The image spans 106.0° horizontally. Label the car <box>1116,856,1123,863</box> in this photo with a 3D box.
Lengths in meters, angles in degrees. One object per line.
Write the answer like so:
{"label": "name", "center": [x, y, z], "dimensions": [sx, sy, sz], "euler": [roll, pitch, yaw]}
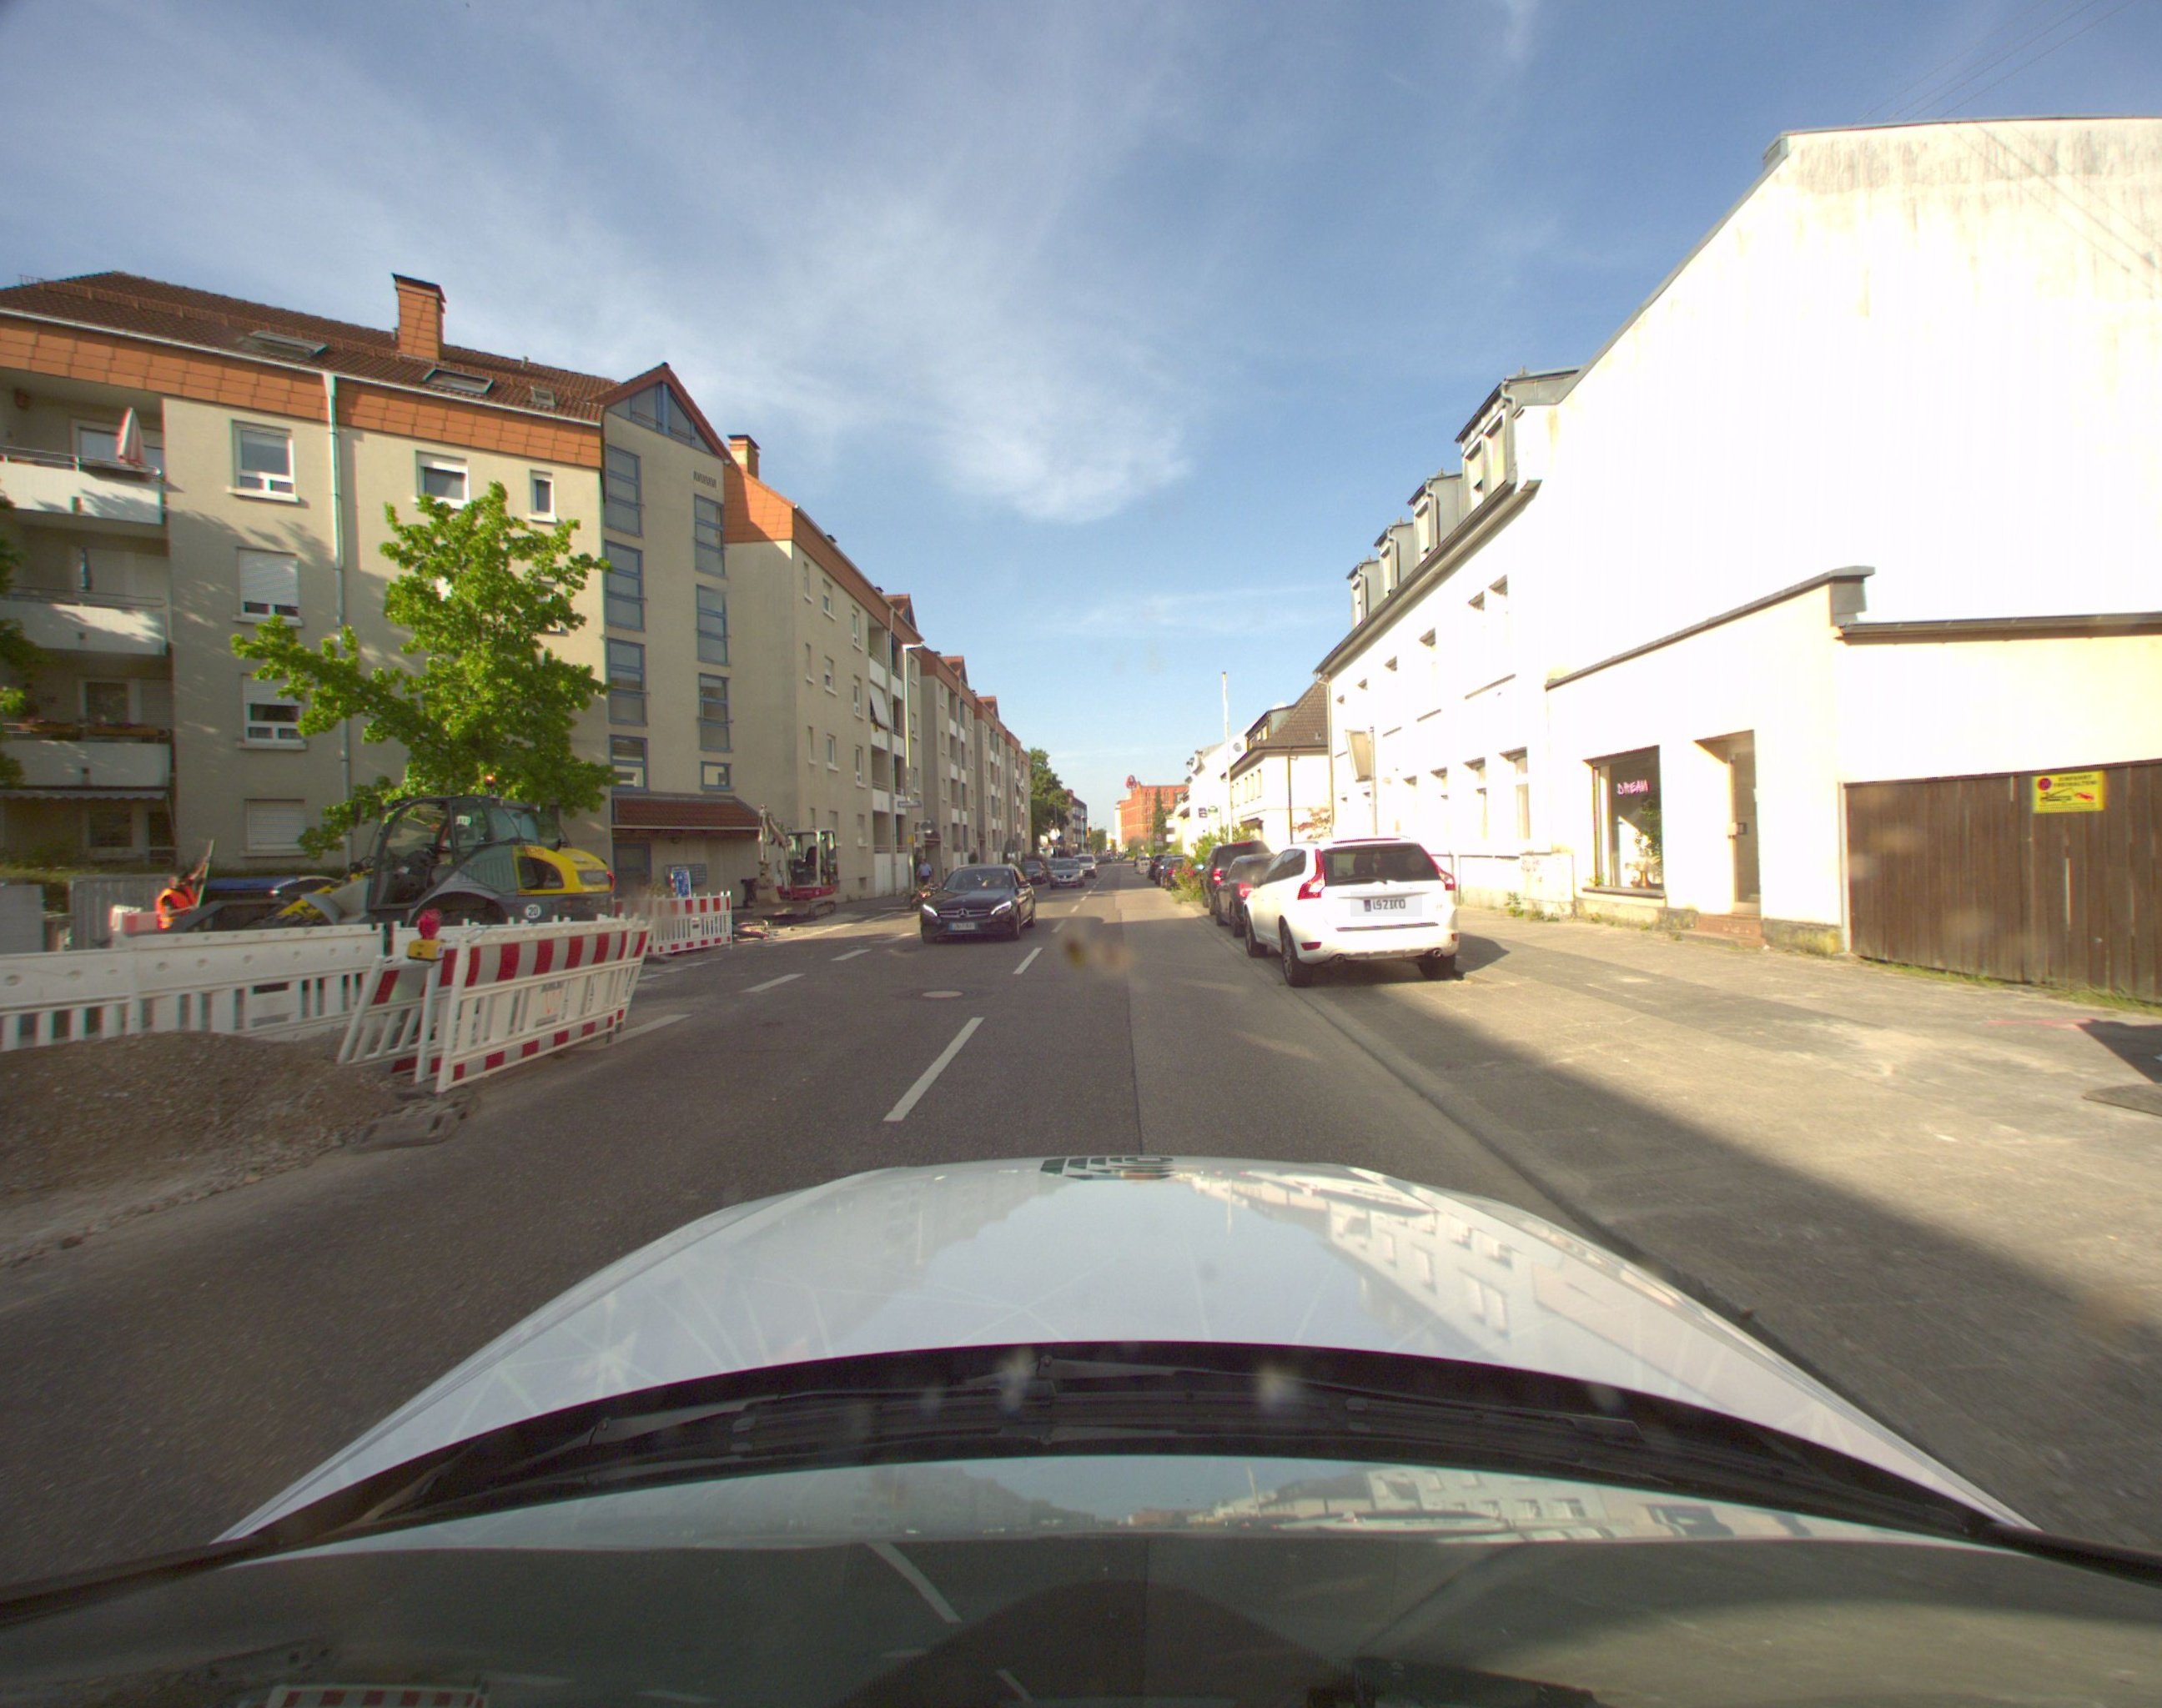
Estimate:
{"label": "car", "center": [10.099, 1.387, 211.384], "dimensions": [1.756, 1.616, 4.003], "euler": [-2, 0, 3]}

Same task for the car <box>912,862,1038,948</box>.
{"label": "car", "center": [-1.976, 0.911, 16.466], "dimensions": [1.823, 1.420, 4.210], "euler": [-2, 0, 2]}

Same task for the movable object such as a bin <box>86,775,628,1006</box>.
{"label": "movable object such as a bin", "center": [-9.983, 0.414, 11.847], "dimensions": [5.502, 2.900, 2.103], "euler": [-1, 0, -13]}

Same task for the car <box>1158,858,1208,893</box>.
{"label": "car", "center": [4.499, 0.912, 36.551], "dimensions": [1.772, 1.420, 4.498], "euler": [-2, 0, 2]}

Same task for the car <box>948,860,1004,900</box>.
{"label": "car", "center": [-4.151, 1.006, 32.626], "dimensions": [1.634, 1.395, 3.672], "euler": [-2, 0, 1]}

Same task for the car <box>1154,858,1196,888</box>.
{"label": "car", "center": [4.785, 0.930, 42.013], "dimensions": [1.822, 1.420, 4.612], "euler": [-2, 0, 3]}

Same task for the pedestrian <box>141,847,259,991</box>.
{"label": "pedestrian", "center": [-12.940, 0.917, 11.982], "dimensions": [0.759, 2.018, 0.897], "euler": [-1, 0, 14]}

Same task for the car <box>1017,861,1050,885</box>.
{"label": "car", "center": [-2.898, 1.162, 50.656], "dimensions": [1.679, 1.405, 4.086], "euler": [-1, 0, 2]}

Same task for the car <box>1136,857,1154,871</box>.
{"label": "car", "center": [7.230, 1.093, 92.263], "dimensions": [1.822, 1.482, 3.947], "euler": [-2, 0, 4]}

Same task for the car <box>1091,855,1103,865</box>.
{"label": "car", "center": [3.147, 1.198, 158.024], "dimensions": [1.985, 1.912, 3.693], "euler": [-2, 0, 4]}

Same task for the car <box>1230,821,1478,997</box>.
{"label": "car", "center": [3.222, 0.572, 10.644], "dimensions": [1.805, 1.683, 4.479], "euler": [-4, 0, 2]}

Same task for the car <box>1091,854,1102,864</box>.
{"label": "car", "center": [3.266, 1.060, 168.271], "dimensions": [1.985, 1.882, 4.004], "euler": [-2, 0, 3]}

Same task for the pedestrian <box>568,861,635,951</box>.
{"label": "pedestrian", "center": [-9.232, 0.976, 15.716], "dimensions": [0.665, 1.664, 0.994], "euler": [-1, 0, 3]}

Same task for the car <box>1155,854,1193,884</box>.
{"label": "car", "center": [5.357, 0.843, 47.467], "dimensions": [1.823, 1.560, 4.319], "euler": [-2, 0, 2]}

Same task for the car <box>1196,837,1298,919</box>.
{"label": "car", "center": [4.265, 0.555, 21.647], "dimensions": [2.066, 1.856, 4.617], "euler": [-3, 0, 5]}

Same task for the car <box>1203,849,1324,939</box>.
{"label": "car", "center": [3.579, 0.728, 16.747], "dimensions": [1.583, 1.528, 4.616], "euler": [-3, -1, 2]}

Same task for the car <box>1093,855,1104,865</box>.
{"label": "car", "center": [3.448, 1.181, 162.007], "dimensions": [1.985, 1.907, 4.004], "euler": [-2, 0, 4]}

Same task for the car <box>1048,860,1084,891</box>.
{"label": "car", "center": [-0.715, 1.070, 41.863], "dimensions": [1.611, 1.455, 3.687], "euler": [-2, 0, 2]}

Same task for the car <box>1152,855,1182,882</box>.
{"label": "car", "center": [5.514, 0.980, 52.633], "dimensions": [1.821, 1.630, 4.467], "euler": [1, -2, 4]}

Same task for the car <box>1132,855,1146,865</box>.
{"label": "car", "center": [8.298, 0.830, 116.602], "dimensions": [1.851, 1.472, 4.003], "euler": [-1, 0, 3]}

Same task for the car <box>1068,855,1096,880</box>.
{"label": "car", "center": [0.079, 1.016, 61.490], "dimensions": [1.915, 1.767, 4.340], "euler": [-2, 0, 2]}

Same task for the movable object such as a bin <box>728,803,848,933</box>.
{"label": "movable object such as a bin", "center": [-7.798, 0.336, 22.058], "dimensions": [1.642, 3.138, 3.901], "euler": [-2, 0, 1]}

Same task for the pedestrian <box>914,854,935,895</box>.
{"label": "pedestrian", "center": [-7.014, 0.901, 36.493], "dimensions": [0.715, 1.818, 0.746], "euler": [-1, 0, 3]}
